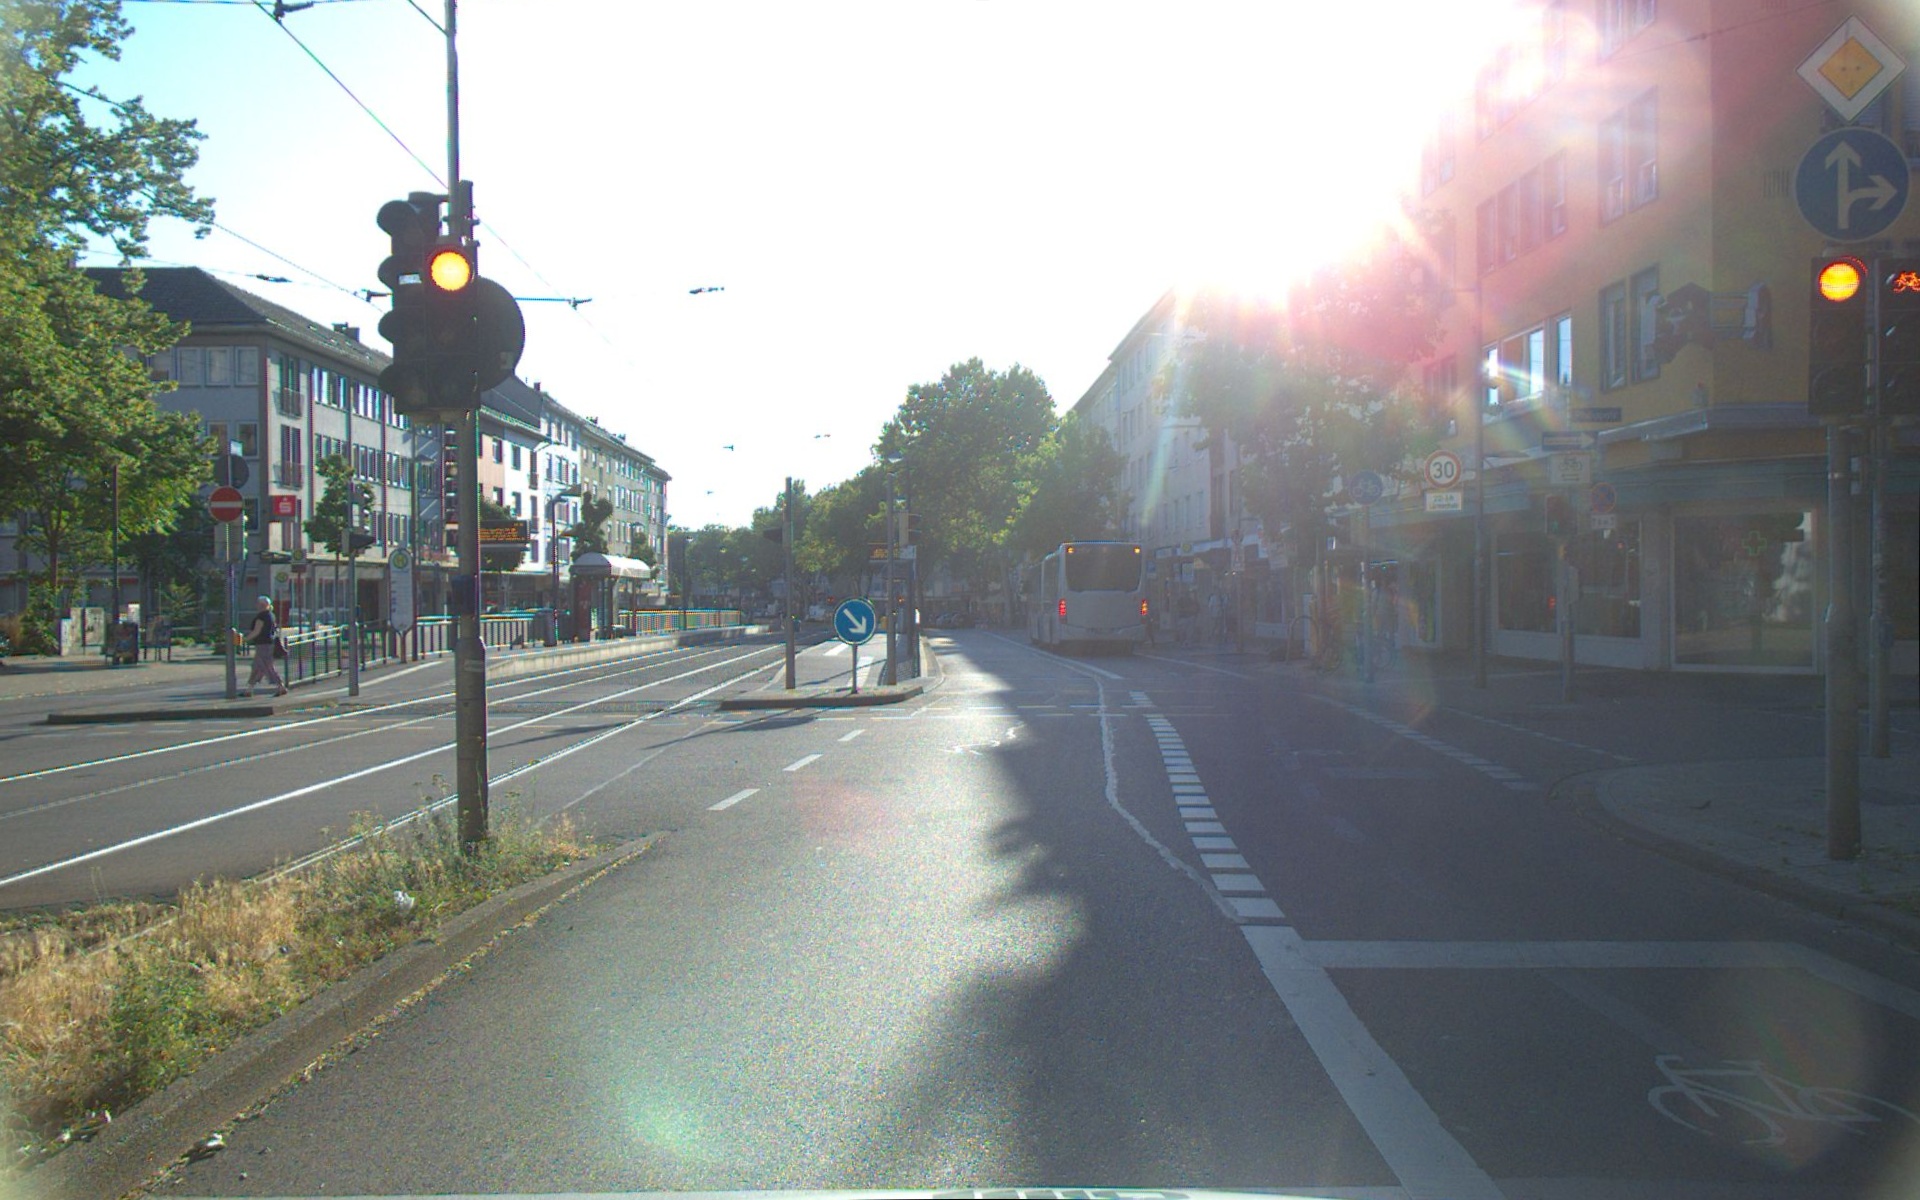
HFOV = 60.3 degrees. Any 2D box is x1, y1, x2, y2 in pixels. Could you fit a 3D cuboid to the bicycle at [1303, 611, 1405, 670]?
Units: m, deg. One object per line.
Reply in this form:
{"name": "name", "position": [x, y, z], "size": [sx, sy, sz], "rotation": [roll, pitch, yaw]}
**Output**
{"name": "bicycle", "position": [7.452, 0.763, 31.325], "size": [1.763, 1.026, 0.540], "rotation": [-3, 0, -5]}

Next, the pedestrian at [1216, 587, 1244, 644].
{"name": "pedestrian", "position": [8.456, 0.475, 51.810], "size": [0.709, 1.753, 0.766], "rotation": [-1, -1, -2]}

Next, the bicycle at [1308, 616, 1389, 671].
{"name": "bicycle", "position": [7.509, 0.840, 31.963], "size": [1.453, 1.026, 0.454], "rotation": [-1, 0, -5]}

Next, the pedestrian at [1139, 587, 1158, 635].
{"name": "pedestrian", "position": [6.386, 0.380, 55.951], "size": [0.597, 1.606, 0.851], "rotation": [-1, 0, 5]}

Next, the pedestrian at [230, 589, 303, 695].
{"name": "pedestrian", "position": [-12.037, 0.725, 28.721], "size": [0.900, 1.791, 0.832], "rotation": [-1, -1, 0]}

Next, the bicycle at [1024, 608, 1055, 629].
{"name": "bicycle", "position": [4.854, 1.122, 101.005], "size": [1.848, 1.096, 0.754], "rotation": [-5, 0, 1]}

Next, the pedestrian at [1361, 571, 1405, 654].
{"name": "pedestrian", "position": [9.433, 0.281, 36.899], "size": [0.728, 1.811, 0.894], "rotation": [-1, -1, -2]}

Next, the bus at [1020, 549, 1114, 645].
{"name": "bus", "position": [3.711, -0.089, 59.389], "size": [2.642, 3.173, 9.067], "rotation": [0, 0, -1]}

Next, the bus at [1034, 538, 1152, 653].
{"name": "bus", "position": [3.875, -0.112, 50.236], "size": [2.642, 3.173, 9.379], "rotation": [0, 0, -1]}

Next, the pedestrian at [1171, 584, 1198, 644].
{"name": "pedestrian", "position": [6.986, 0.426, 51.488], "size": [0.709, 1.838, 0.766], "rotation": [-1, -1, -2]}

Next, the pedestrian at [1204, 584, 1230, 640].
{"name": "pedestrian", "position": [8.456, 0.406, 54.422], "size": [0.709, 1.810, 0.766], "rotation": [-1, -1, -2]}
